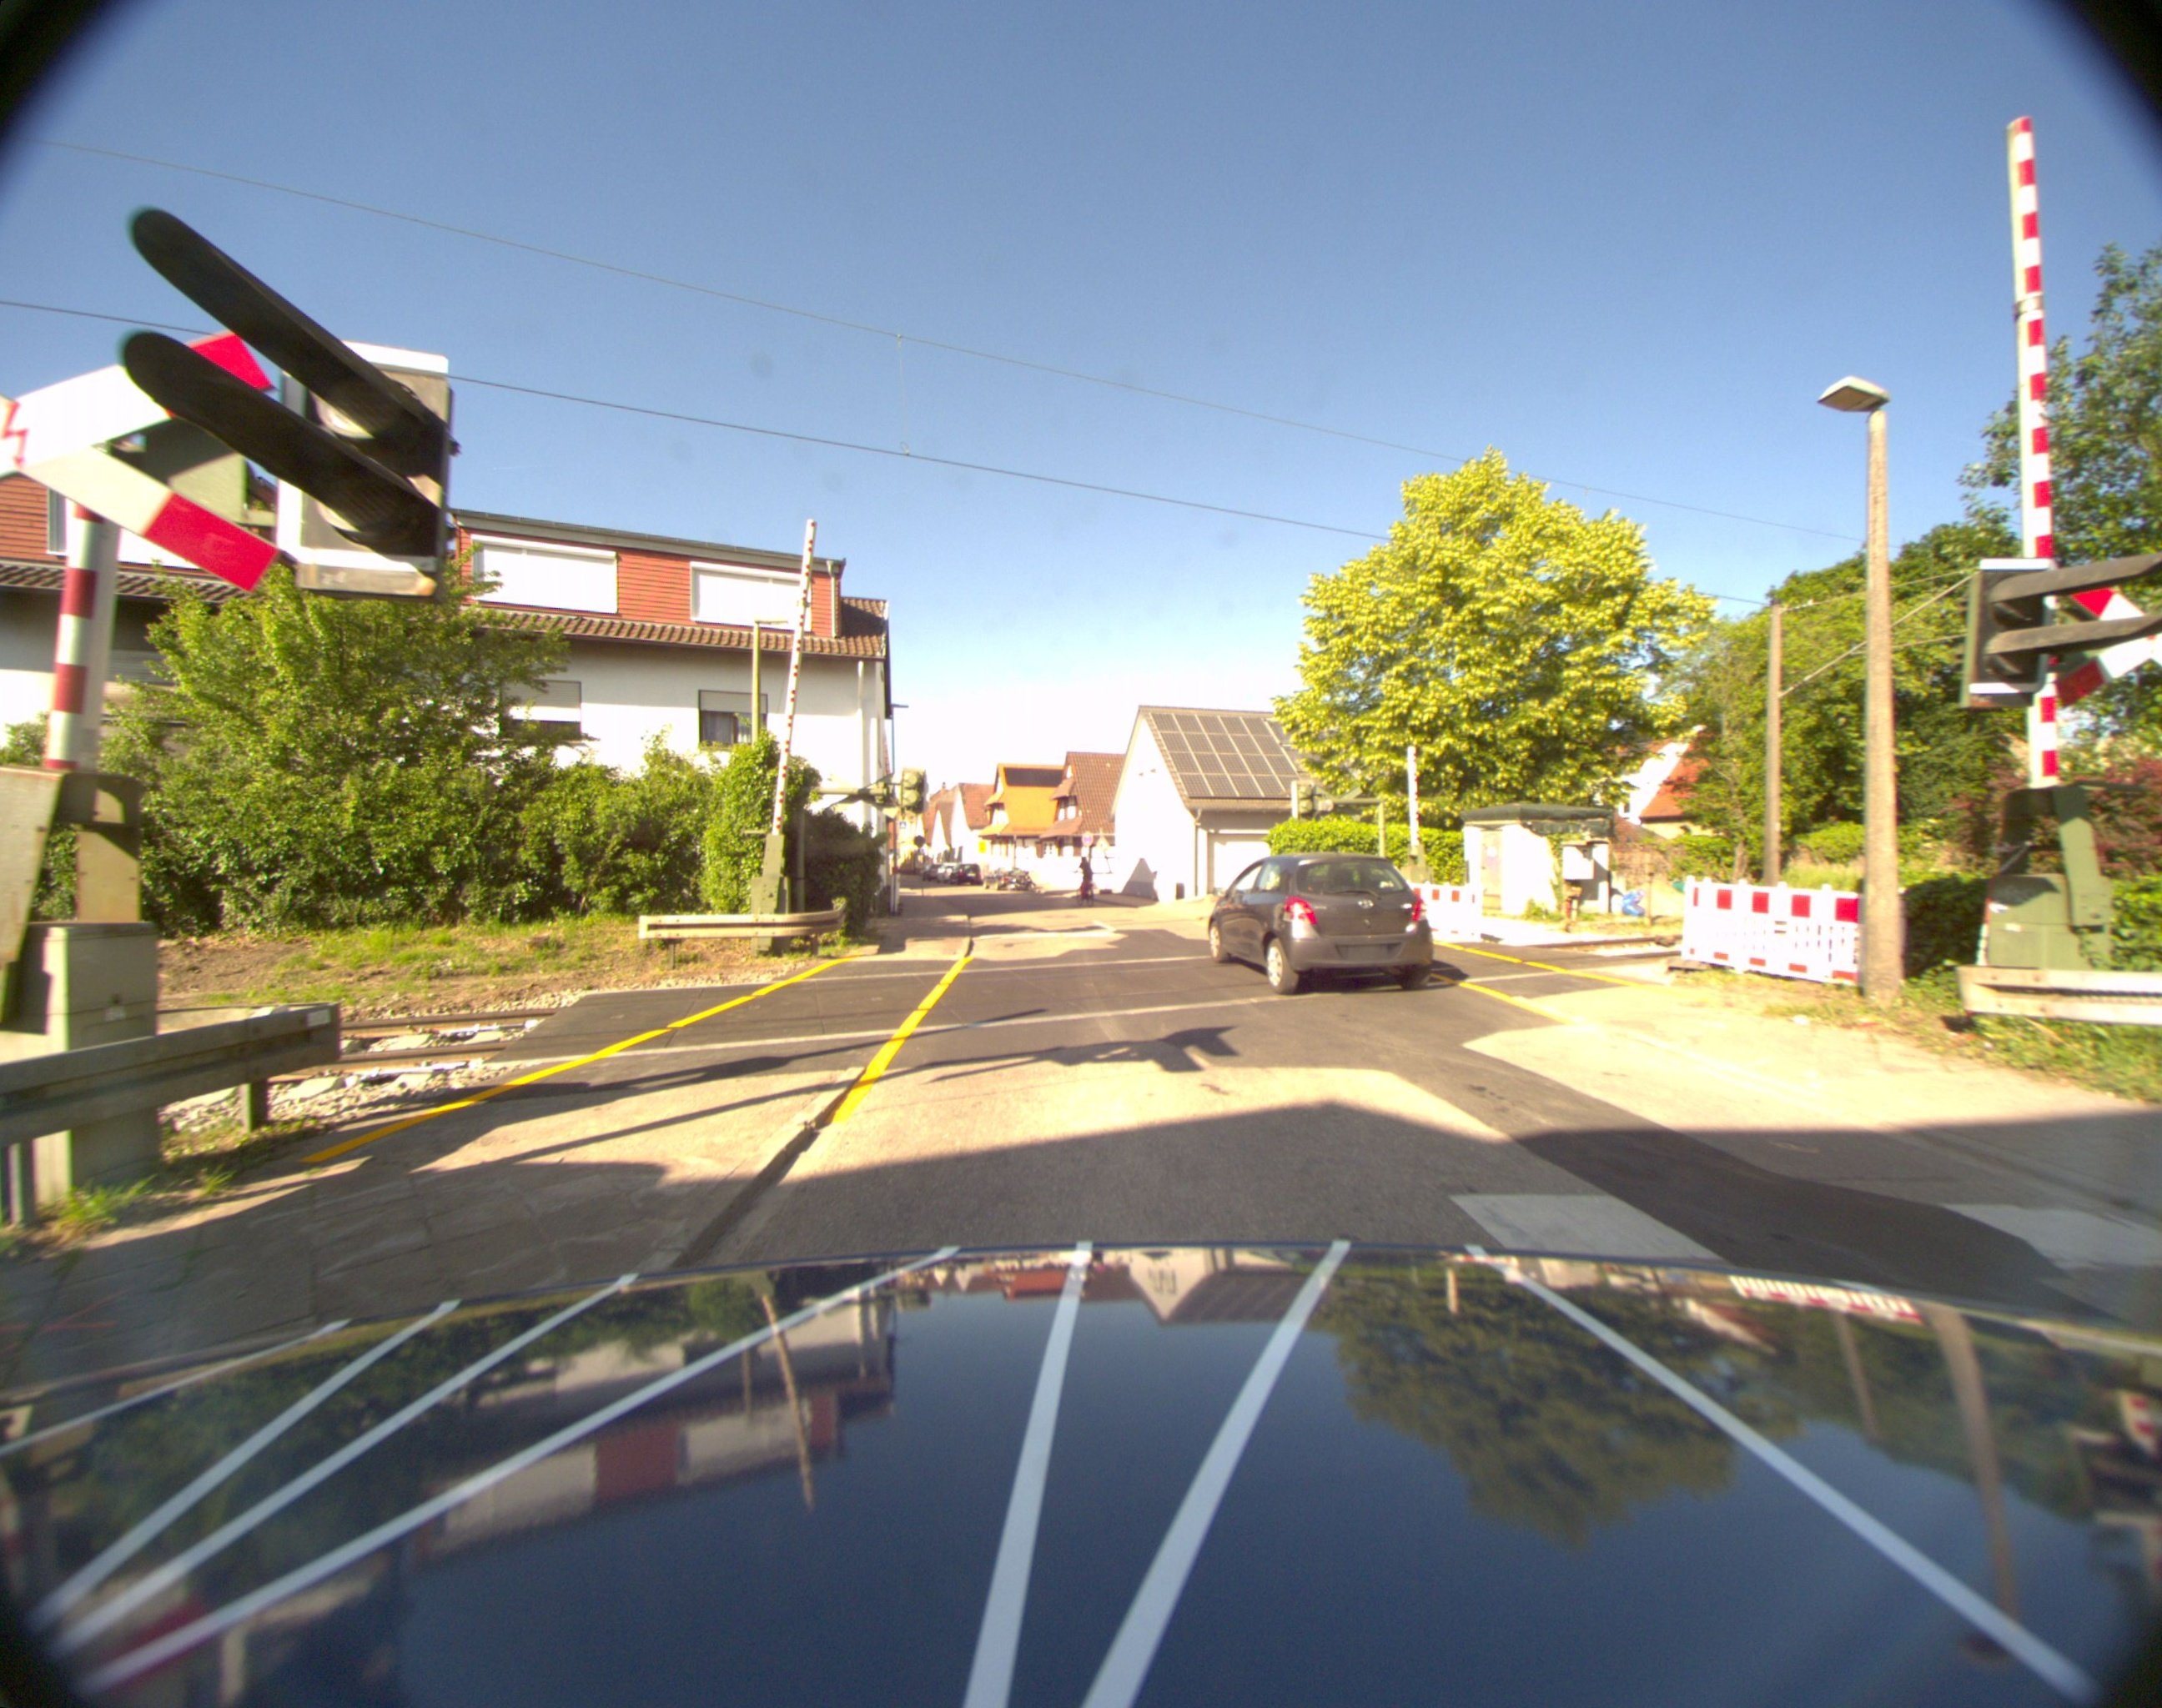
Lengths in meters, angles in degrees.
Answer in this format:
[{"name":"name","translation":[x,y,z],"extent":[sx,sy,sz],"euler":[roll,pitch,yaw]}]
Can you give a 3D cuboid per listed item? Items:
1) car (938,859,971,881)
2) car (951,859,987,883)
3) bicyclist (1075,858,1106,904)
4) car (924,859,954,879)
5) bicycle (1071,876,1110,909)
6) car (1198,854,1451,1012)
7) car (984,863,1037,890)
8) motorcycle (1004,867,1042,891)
[{"name":"car","translation":[-10.046,1.235,60.188],"extent":[1.824,1.557,4.160],"euler":[0,0,-20]},{"name":"car","translation":[-8.181,1.212,55.154],"extent":[1.791,1.595,4.353],"euler":[0,0,-20]},{"name":"bicyclist","translation":[0.328,0.906,26.146],"extent":[0.851,1.532,0.872],"euler":[1,1,-13]},{"name":"car","translation":[-12.469,1.259,66.470],"extent":[1.750,1.604,3.992],"euler":[0,1,-22]},{"name":"bicycle","translation":[0.310,1.294,26.235],"extent":[0.887,0.999,2.060],"euler":[1,1,-13]},{"name":"car","translation":[2.723,0.796,9.412],"extent":[1.691,1.501,3.652],"euler":[0,1,-5]},{"name":"car","translation":[-4.174,1.256,44.252],"extent":[1.852,1.398,5.027],"euler":[1,0,-20]},{"name":"motorcycle","translation":[-3.112,1.336,41.048],"extent":[1.990,1.224,0.628],"euler":[0,0,24]}]
